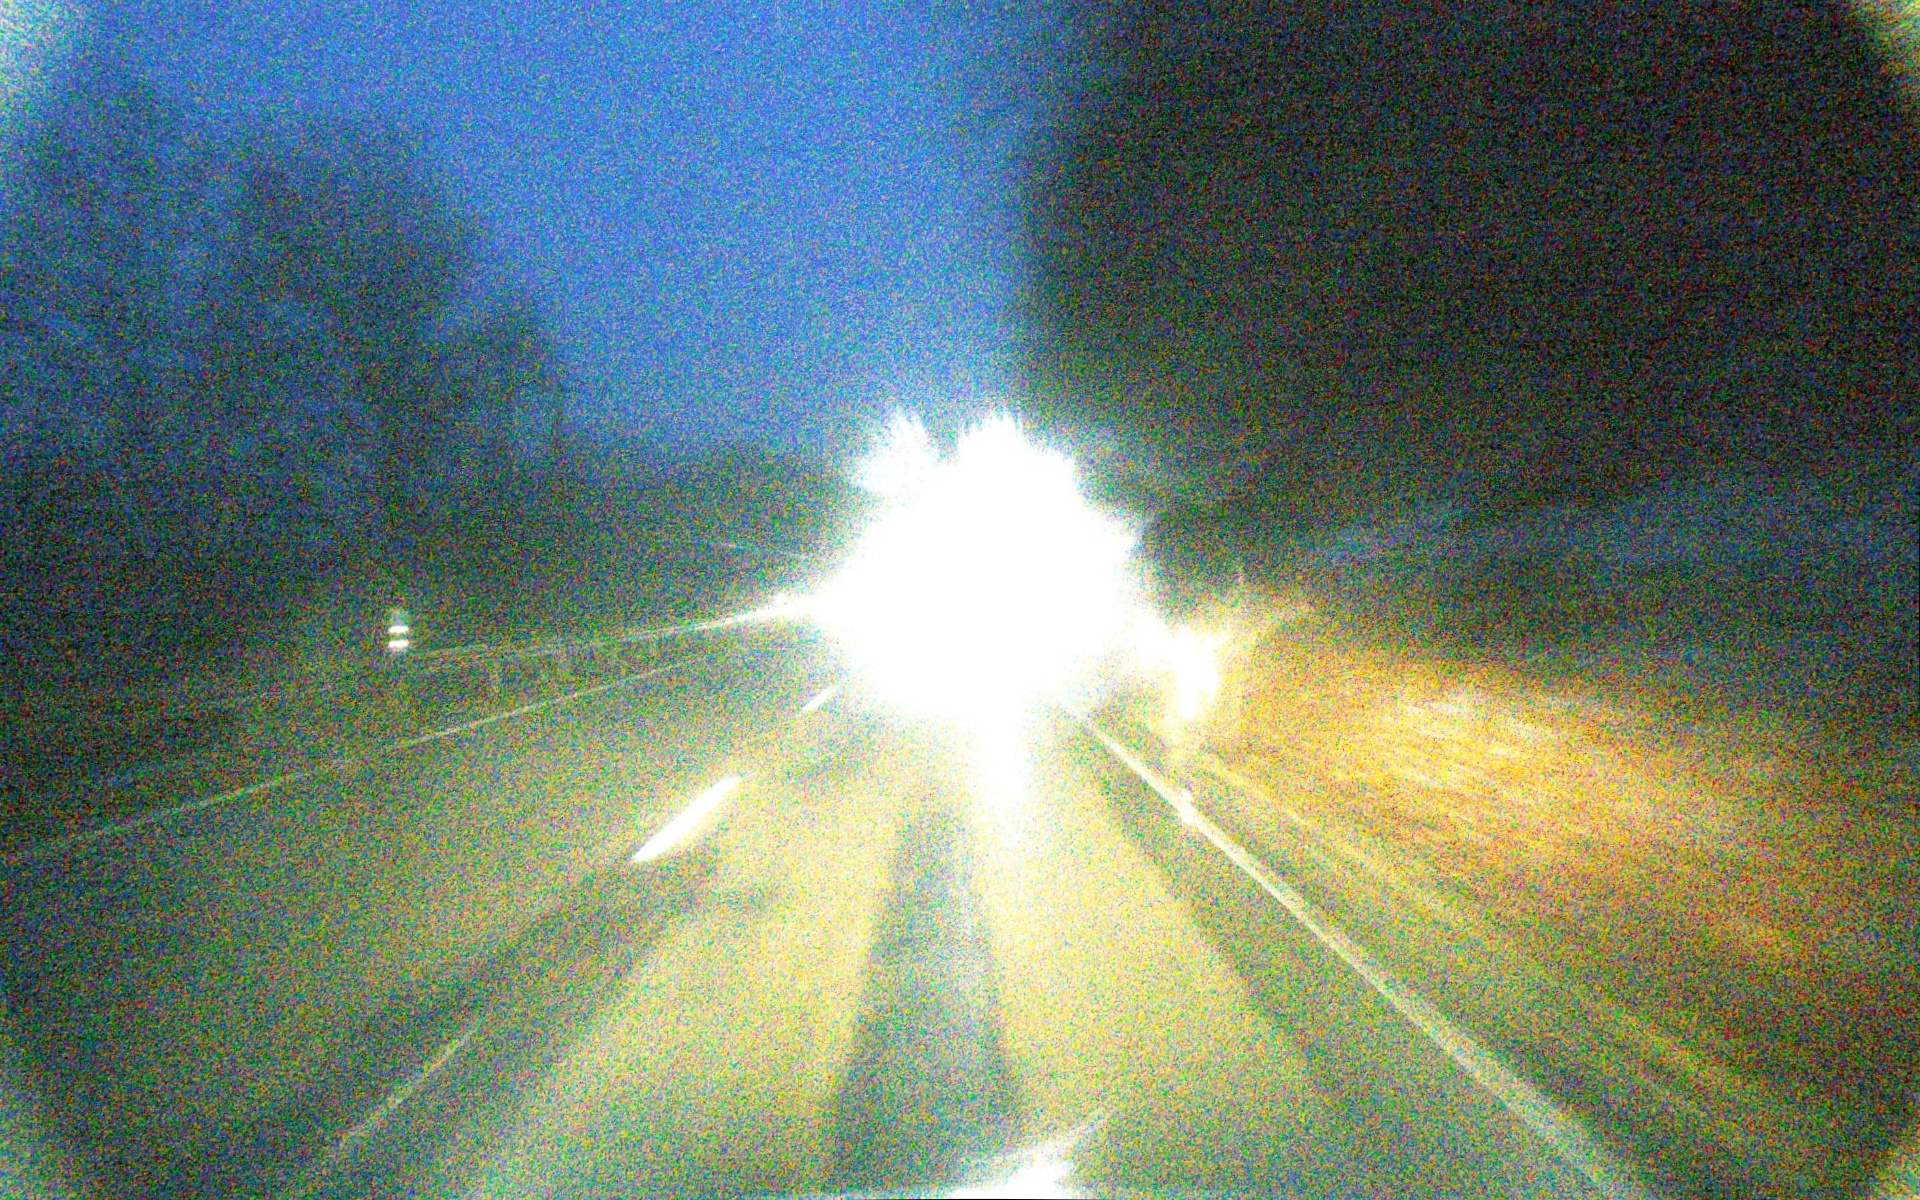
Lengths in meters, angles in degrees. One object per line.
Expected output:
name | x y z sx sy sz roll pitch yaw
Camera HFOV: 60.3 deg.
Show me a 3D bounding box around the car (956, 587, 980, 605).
car | 0.675 -0.351 139.572 1.952 1.415 3.847 0 1 2
